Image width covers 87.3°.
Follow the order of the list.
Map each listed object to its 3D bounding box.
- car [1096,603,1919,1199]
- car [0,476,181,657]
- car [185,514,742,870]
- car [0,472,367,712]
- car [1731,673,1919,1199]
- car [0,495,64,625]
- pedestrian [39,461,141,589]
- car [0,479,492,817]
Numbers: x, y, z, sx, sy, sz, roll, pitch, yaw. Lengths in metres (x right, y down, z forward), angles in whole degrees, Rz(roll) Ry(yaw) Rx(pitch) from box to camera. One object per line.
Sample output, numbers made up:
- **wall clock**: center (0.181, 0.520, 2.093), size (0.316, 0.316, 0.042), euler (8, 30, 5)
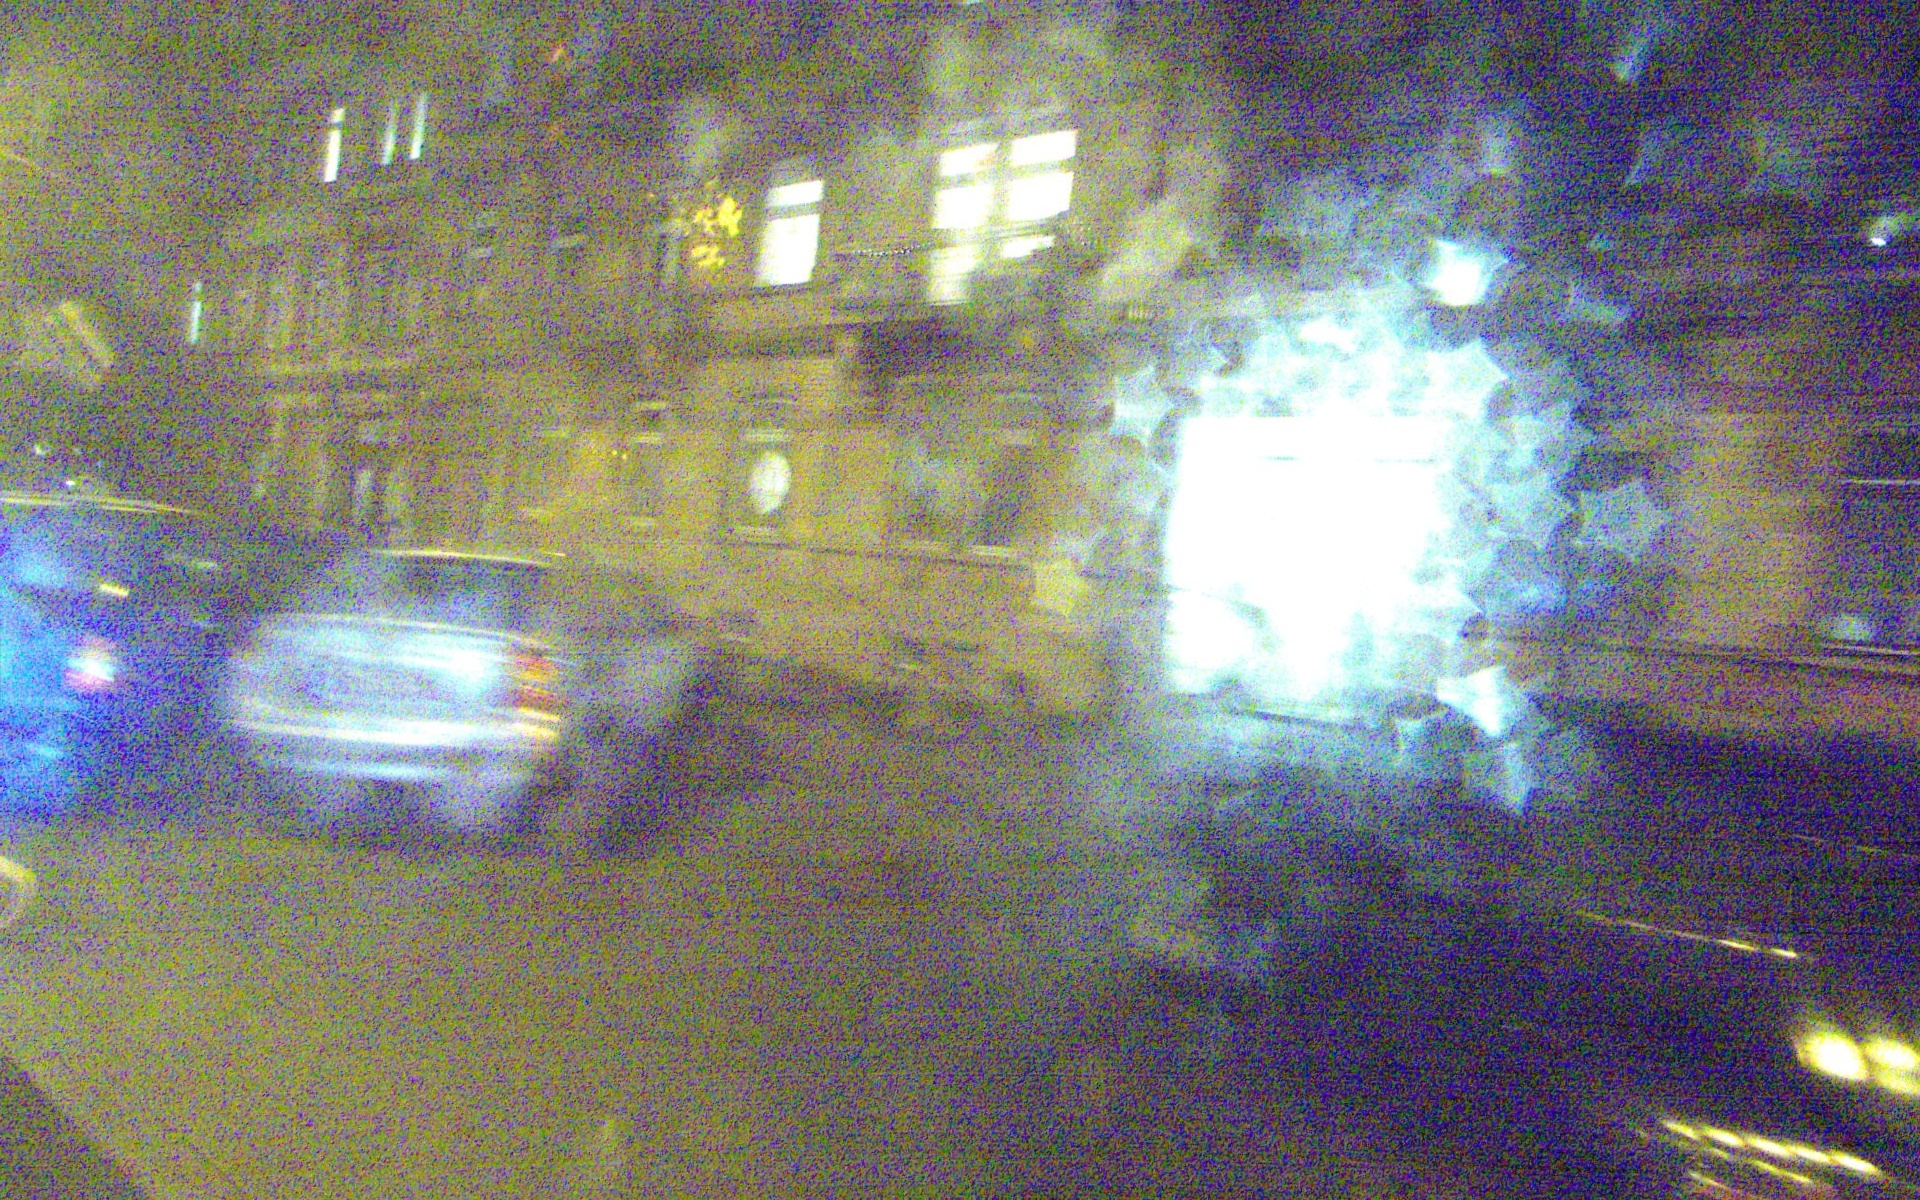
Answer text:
- **car**: center (1.712, 0.896, 2.901), size (1.772, 1.572, 3.998), euler (6, 0, -3)
- **car**: center (-9.326, -0.383, 9.296), size (1.565, 1.599, 3.650), euler (7, -1, -7)
- **car**: center (-2.708, 0.380, 6.601), size (1.657, 1.471, 3.996), euler (6, 1, -2)
- **car**: center (-7.029, -0.087, 8.486), size (1.562, 1.599, 3.656), euler (7, -1, 4)
- **car**: center (4.073, 1.168, 1.797), size (1.964, 1.572, 3.996), euler (6, 0, -6)
- **car**: center (-12.611, -0.632, 11.414), size (1.564, 1.598, 3.654), euler (8, -2, -3)
- **pedestrian**: center (-13.839, -1.180, 16.011), size (0.976, 1.880, 0.869), euler (7, 2, 29)
- **car**: center (-4.646, 0.159, 6.386), size (1.574, 1.479, 3.682), euler (6, 0, -1)
